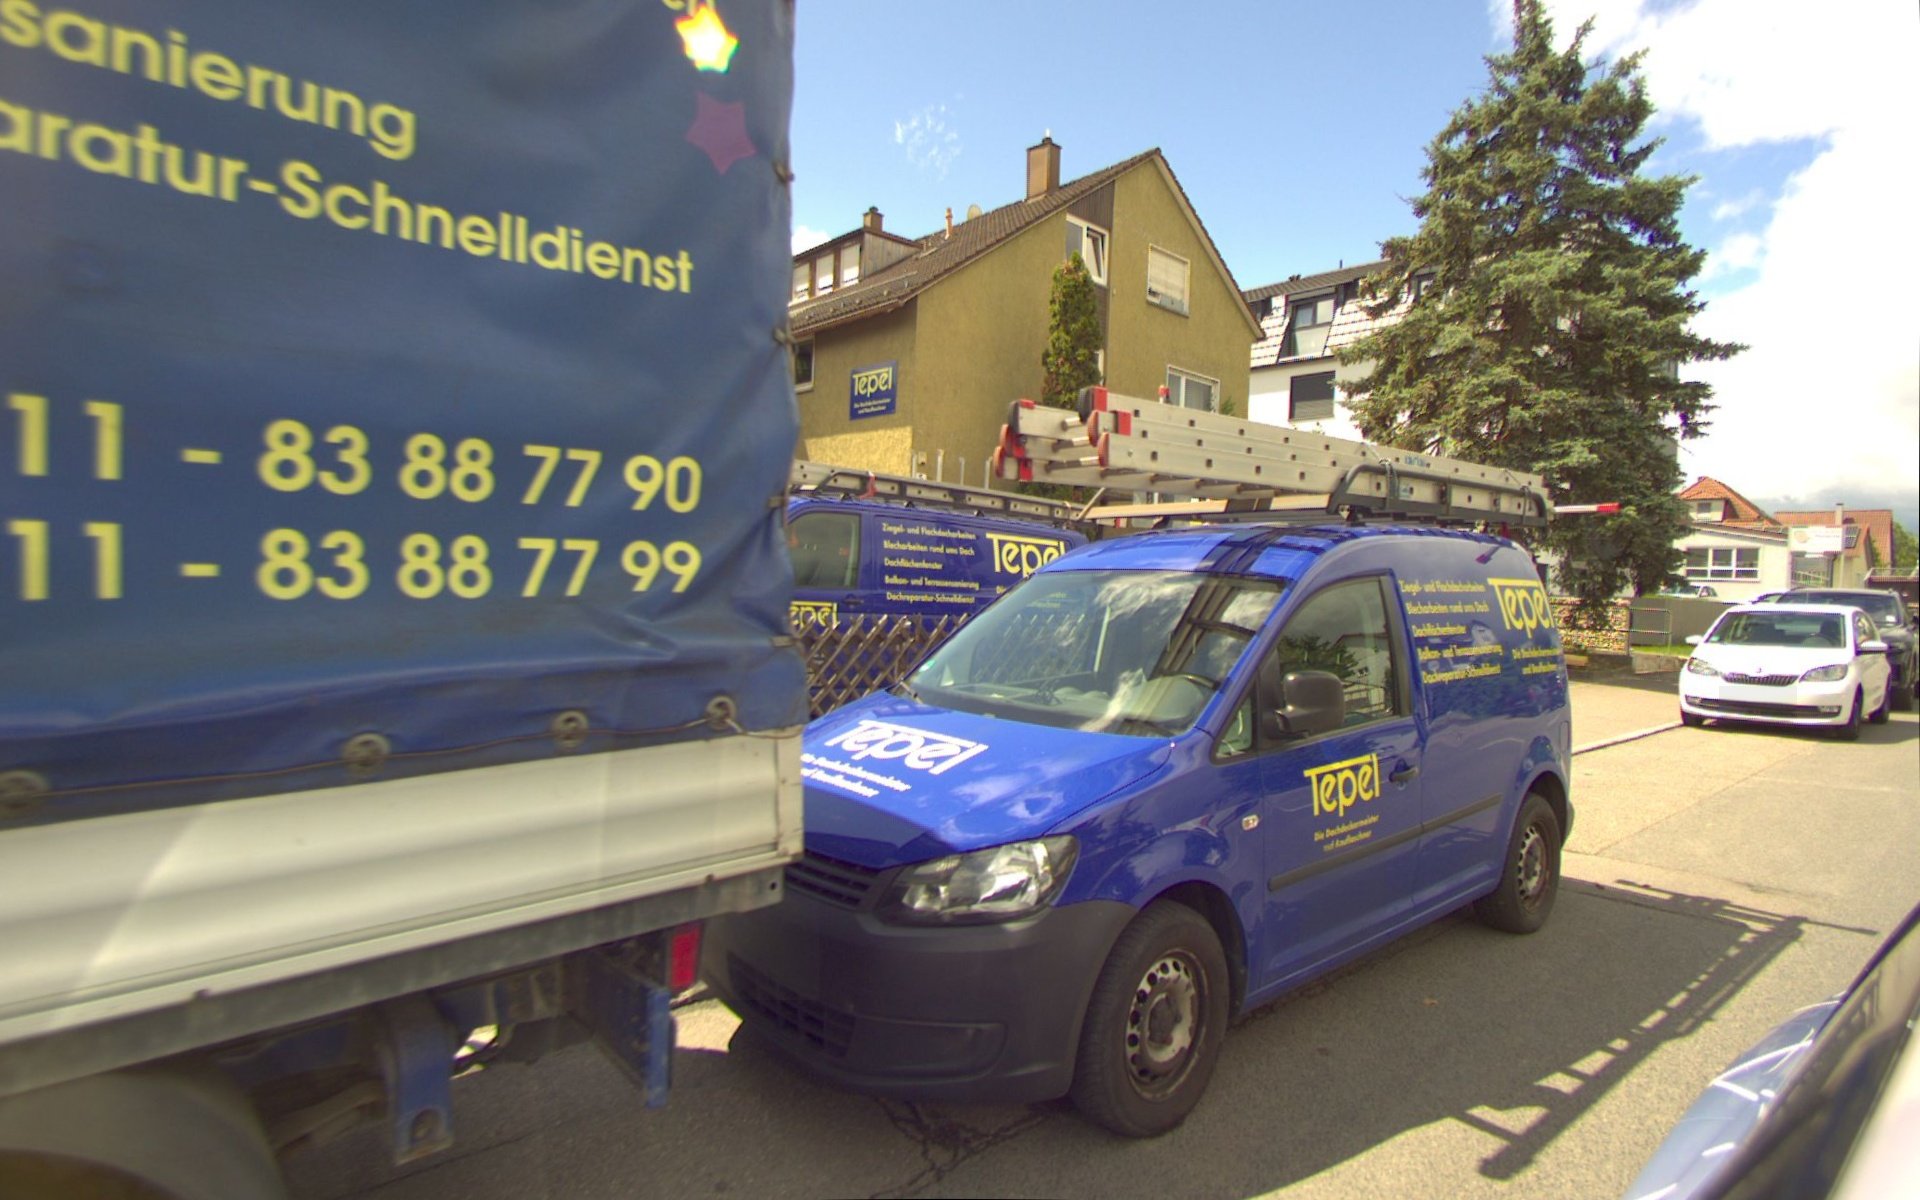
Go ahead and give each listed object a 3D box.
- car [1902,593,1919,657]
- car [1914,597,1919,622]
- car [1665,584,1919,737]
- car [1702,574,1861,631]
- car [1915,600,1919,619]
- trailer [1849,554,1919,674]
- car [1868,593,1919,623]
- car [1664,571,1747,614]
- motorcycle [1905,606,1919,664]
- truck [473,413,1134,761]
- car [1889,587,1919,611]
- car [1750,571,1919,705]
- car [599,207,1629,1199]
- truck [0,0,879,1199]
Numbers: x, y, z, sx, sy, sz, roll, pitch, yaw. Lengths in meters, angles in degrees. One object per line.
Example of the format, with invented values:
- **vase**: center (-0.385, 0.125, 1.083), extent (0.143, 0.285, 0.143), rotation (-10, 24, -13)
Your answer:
- **car**: center (24.014, 0.639, 24.088), extent (3.911, 1.449, 1.724), rotation (1, 3, -39)
- **car**: center (63.683, 0.734, 65.318), extent (1.942, 1.543, 2.892), rotation (1, 4, -44)
- **car**: center (10.304, 0.627, 12.436), extent (3.930, 1.526, 1.776), rotation (1, 2, -41)
- **car**: center (30.268, 0.044, 37.401), extent (1.834, 1.673, 4.203), rotation (1, 5, -41)
- **car**: center (72.187, 0.873, 73.165), extent (1.942, 1.424, 4.414), rotation (1, 4, -43)
- **trailer**: center (18.843, 0.266, 19.692), extent (4.042, 2.171, 1.776), rotation (1, 2, -42)
- **car**: center (59.718, 0.573, 63.061), extent (1.942, 1.627, 4.414), rotation (1, 4, -43)
- **car**: center (32.098, -0.310, 43.560), extent (3.593, 1.537, 1.639), rotation (3, 3, -34)
- **motorcycle**: center (21.653, 0.796, 21.736), extent (1.796, 1.225, 0.714), rotation (2, 1, 15)
- **truck**: center (-0.983, -0.082, 8.579), extent (5.292, 2.107, 1.833), rotation (2, 3, -42)
- **car**: center (65.965, 0.064, 68.477), extent (1.942, 1.543, 4.414), rotation (1, 4, -43)
- **car**: center (13.971, 0.505, 15.755), extent (4.633, 1.748, 1.876), rotation (0, 2, -43)
- **car**: center (1.012, 0.290, 4.242), extent (4.385, 2.196, 1.877), rotation (1, 0, -41)
- **truck**: center (-3.145, -0.187, 0.840), extent (5.936, 3.136, 2.324), rotation (1, 0, -41)
